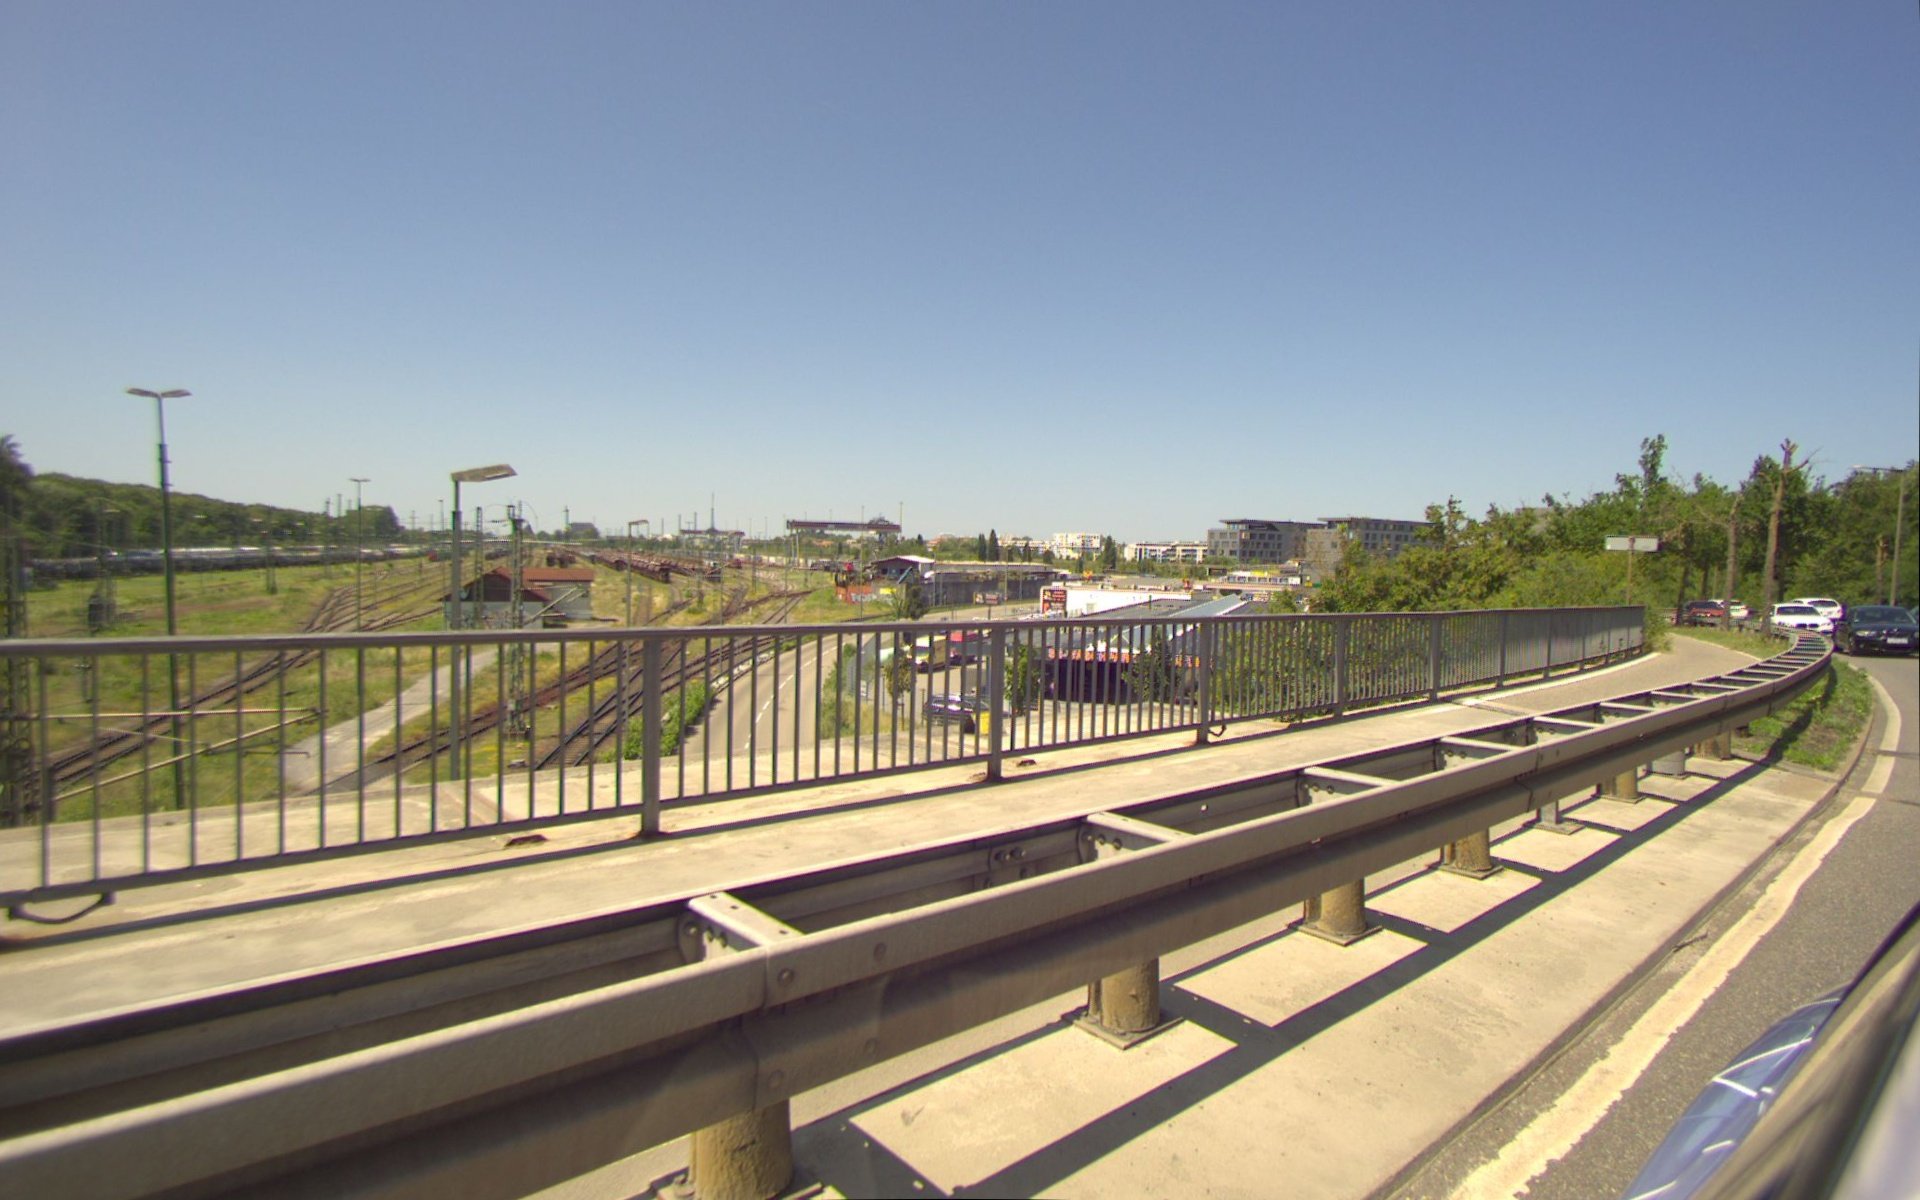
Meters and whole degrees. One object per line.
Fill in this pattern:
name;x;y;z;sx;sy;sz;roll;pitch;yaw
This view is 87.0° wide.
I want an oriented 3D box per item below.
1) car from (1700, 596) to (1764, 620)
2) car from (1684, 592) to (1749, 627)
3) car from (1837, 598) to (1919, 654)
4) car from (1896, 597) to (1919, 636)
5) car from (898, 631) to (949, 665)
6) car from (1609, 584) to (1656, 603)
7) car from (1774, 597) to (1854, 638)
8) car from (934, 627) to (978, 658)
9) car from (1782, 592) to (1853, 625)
car;48.237;0.467;63.321;1.683;1.465;4.436;0;0;17
car;41.761;0.479;55.963;1.881;1.675;4.225;1;2;24
car;25.978;0.681;28.317;1.559;1.434;4.075;1;1;32
car;36.258;0.627;37.173;1.706;1.445;4.067;2;1;28
car;-2.818;3.739;79.556;2.126;2.382;4.894;-4;-2;21
car;52.888;-0.529;79.691;1.828;1.486;4.713;0;1;18
car;32.904;0.636;39.101;1.804;1.446;3.673;1;1;32
car;-0.312;3.596;86.001;2.126;2.382;4.895;-3;-2;20
car;43.332;0.412;51.241;1.735;1.565;4.352;1;1;27
